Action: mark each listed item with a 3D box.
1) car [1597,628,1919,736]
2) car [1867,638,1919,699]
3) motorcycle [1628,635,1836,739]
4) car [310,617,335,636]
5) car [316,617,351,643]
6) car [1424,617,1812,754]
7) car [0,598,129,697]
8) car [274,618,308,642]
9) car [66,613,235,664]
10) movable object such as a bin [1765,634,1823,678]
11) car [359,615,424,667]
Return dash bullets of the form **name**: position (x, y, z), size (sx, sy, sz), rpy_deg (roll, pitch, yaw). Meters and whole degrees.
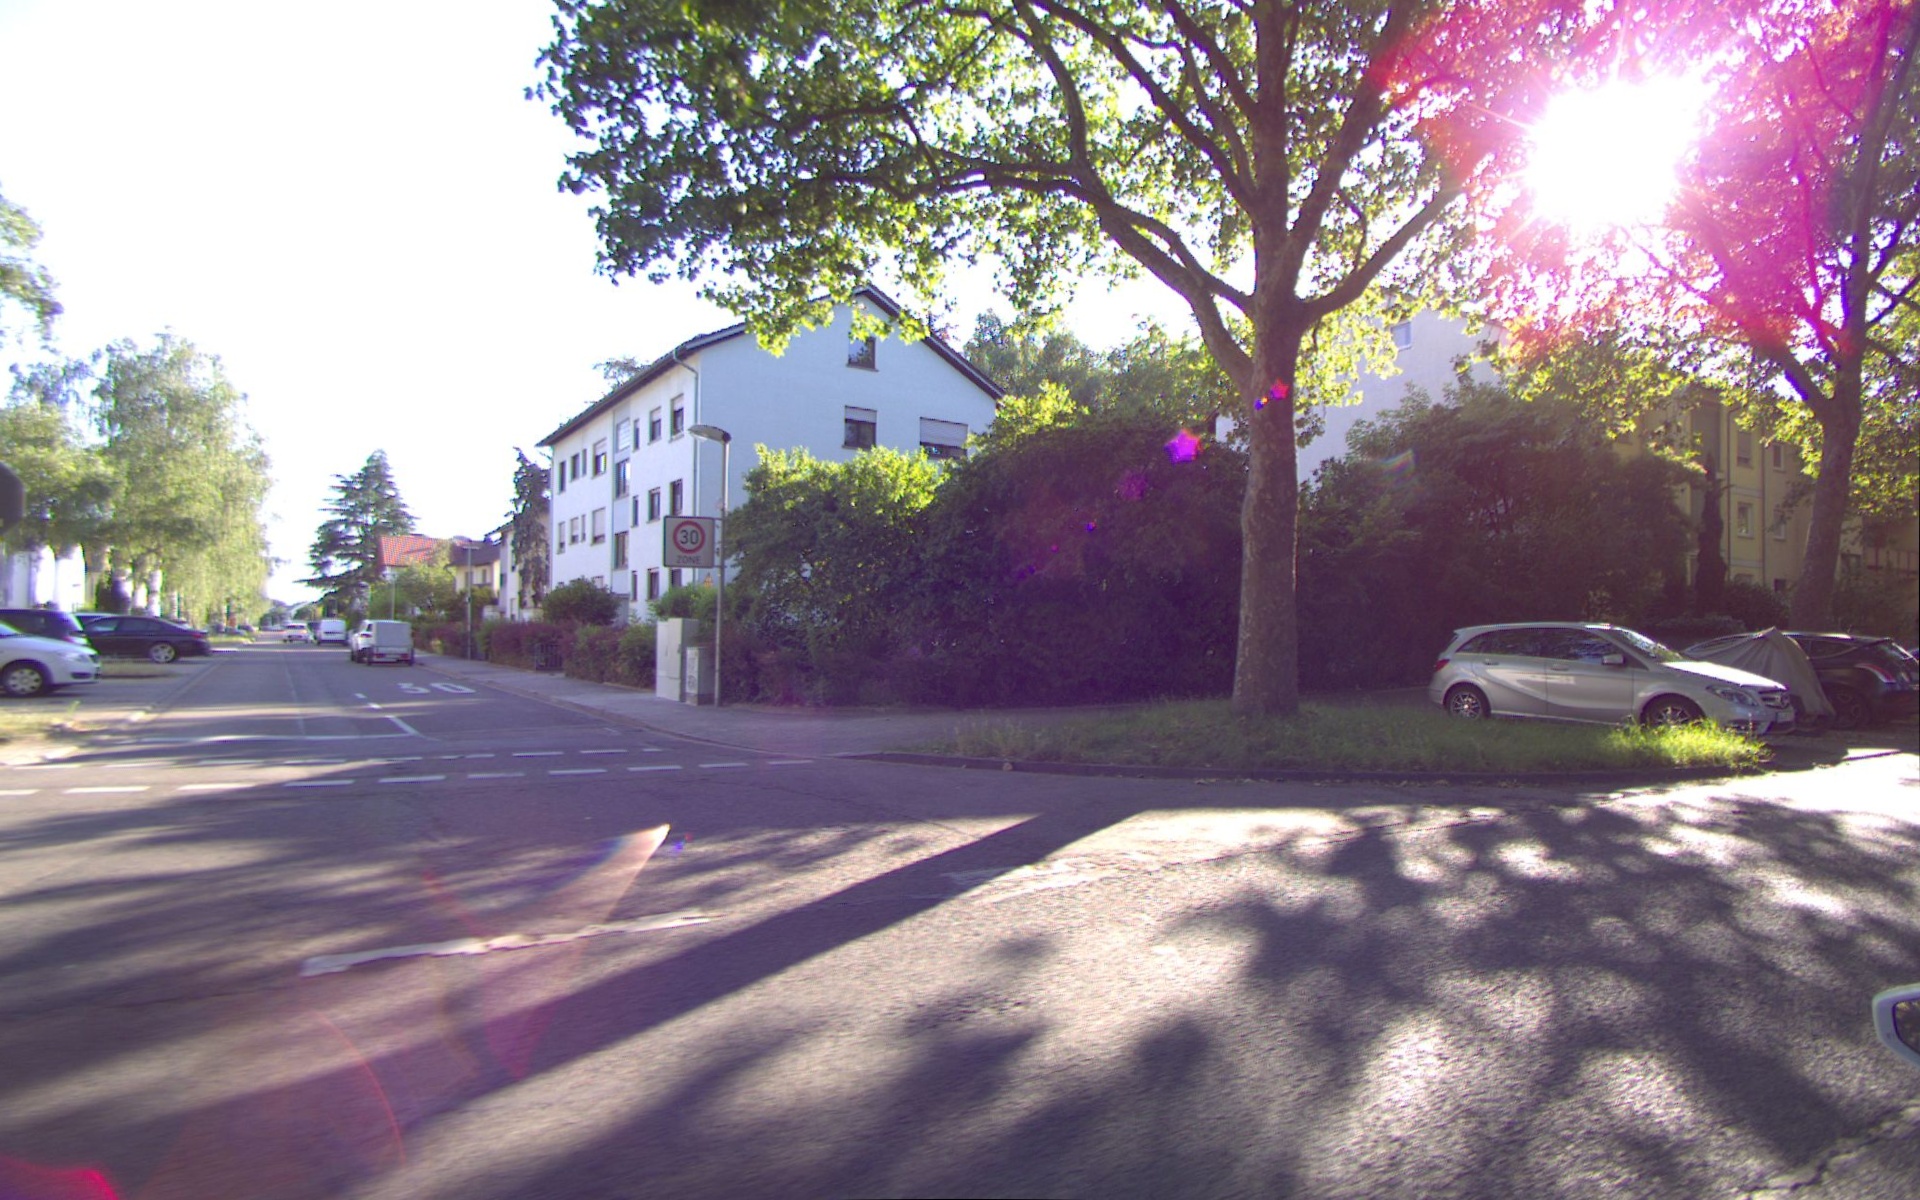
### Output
- **car**: position (13.221, 1.250, 16.677), size (1.783, 1.526, 4.136), rpy_deg (2, -2, -33)
- **car**: position (23.288, 1.563, 22.416), size (1.722, 1.370, 4.219), rpy_deg (2, -2, -31)
- **motorcycle**: position (11.368, 1.234, 14.901), size (0.642, 1.406, 2.370), rpy_deg (2, -2, -34)
- **car**: position (-62.010, 2.575, 97.754), size (1.979, 1.762, 3.964), rpy_deg (2, -2, -33)
- **car**: position (-43.367, 2.062, 69.638), size (1.978, 1.762, 3.966), rpy_deg (2, -1, -31)
- **car**: position (9.032, 1.056, 14.131), size (1.979, 1.605, 4.157), rpy_deg (2, -2, -34)
- **car**: position (-16.569, 0.751, 16.735), size (3.959, 1.595, 1.981), rpy_deg (2, -1, -34)
- **car**: position (-51.367, 2.291, 77.151), size (1.978, 1.762, 3.966), rpy_deg (2, -1, -31)
- **car**: position (-25.332, 1.205, 31.634), size (3.961, 1.505, 1.980), rpy_deg (2, -2, -35)
- **movable object such as a bin**: position (26.765, 1.790, 32.235), size (0.942, 1.368, 1.180), rpy_deg (2, -2, -29)
- **car**: position (-20.468, 1.440, 36.087), size (1.883, 1.762, 3.966), rpy_deg (2, -1, -31)
